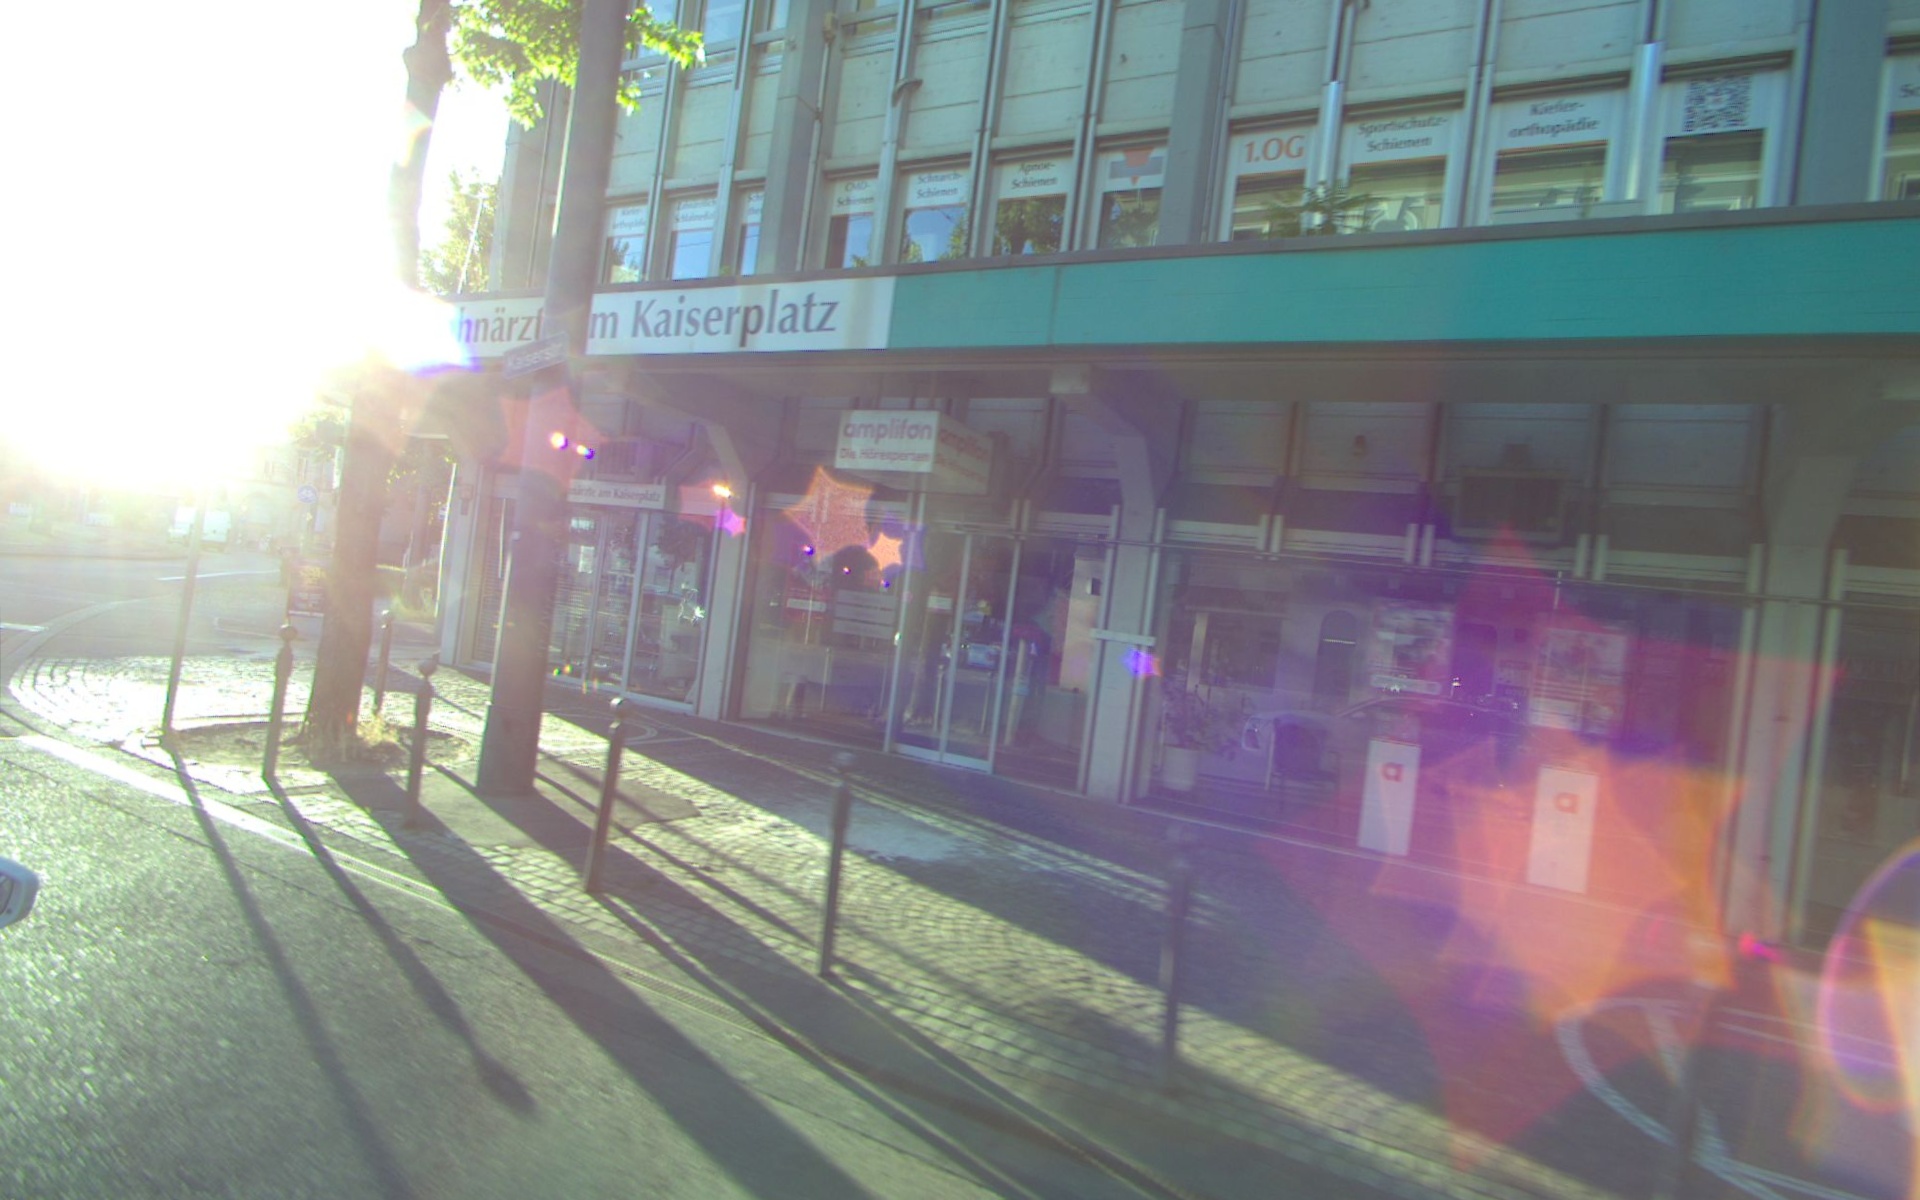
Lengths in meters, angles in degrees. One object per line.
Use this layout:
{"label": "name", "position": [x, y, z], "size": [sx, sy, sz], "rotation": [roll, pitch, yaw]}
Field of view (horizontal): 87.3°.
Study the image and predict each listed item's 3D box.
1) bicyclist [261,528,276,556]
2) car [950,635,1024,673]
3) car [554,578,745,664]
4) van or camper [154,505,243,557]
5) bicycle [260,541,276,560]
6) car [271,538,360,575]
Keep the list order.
{"label": "bicyclist", "position": [-42.400, -3.549, 61.664], "size": [0.507, 1.661, 0.767], "rotation": [8, -1, -40]}
{"label": "car", "position": [1.357, 2.667, 48.971], "size": [1.829, 1.442, 4.329], "rotation": [6, -3, 27]}
{"label": "car", "position": [-6.901, 0.531, 22.762], "size": [1.801, 1.456, 3.867], "rotation": [8, -2, 27]}
{"label": "van or camper", "position": [-46.923, -4.276, 61.928], "size": [6.224, 2.502, 2.608], "rotation": [7, -1, 37]}
{"label": "bicycle", "position": [-42.477, -3.042, 61.713], "size": [0.507, 0.990, 2.217], "rotation": [8, -1, -40]}
{"label": "car", "position": [-44.554, -2.967, 69.631], "size": [4.701, 1.782, 1.814], "rotation": [9, -1, -18]}
